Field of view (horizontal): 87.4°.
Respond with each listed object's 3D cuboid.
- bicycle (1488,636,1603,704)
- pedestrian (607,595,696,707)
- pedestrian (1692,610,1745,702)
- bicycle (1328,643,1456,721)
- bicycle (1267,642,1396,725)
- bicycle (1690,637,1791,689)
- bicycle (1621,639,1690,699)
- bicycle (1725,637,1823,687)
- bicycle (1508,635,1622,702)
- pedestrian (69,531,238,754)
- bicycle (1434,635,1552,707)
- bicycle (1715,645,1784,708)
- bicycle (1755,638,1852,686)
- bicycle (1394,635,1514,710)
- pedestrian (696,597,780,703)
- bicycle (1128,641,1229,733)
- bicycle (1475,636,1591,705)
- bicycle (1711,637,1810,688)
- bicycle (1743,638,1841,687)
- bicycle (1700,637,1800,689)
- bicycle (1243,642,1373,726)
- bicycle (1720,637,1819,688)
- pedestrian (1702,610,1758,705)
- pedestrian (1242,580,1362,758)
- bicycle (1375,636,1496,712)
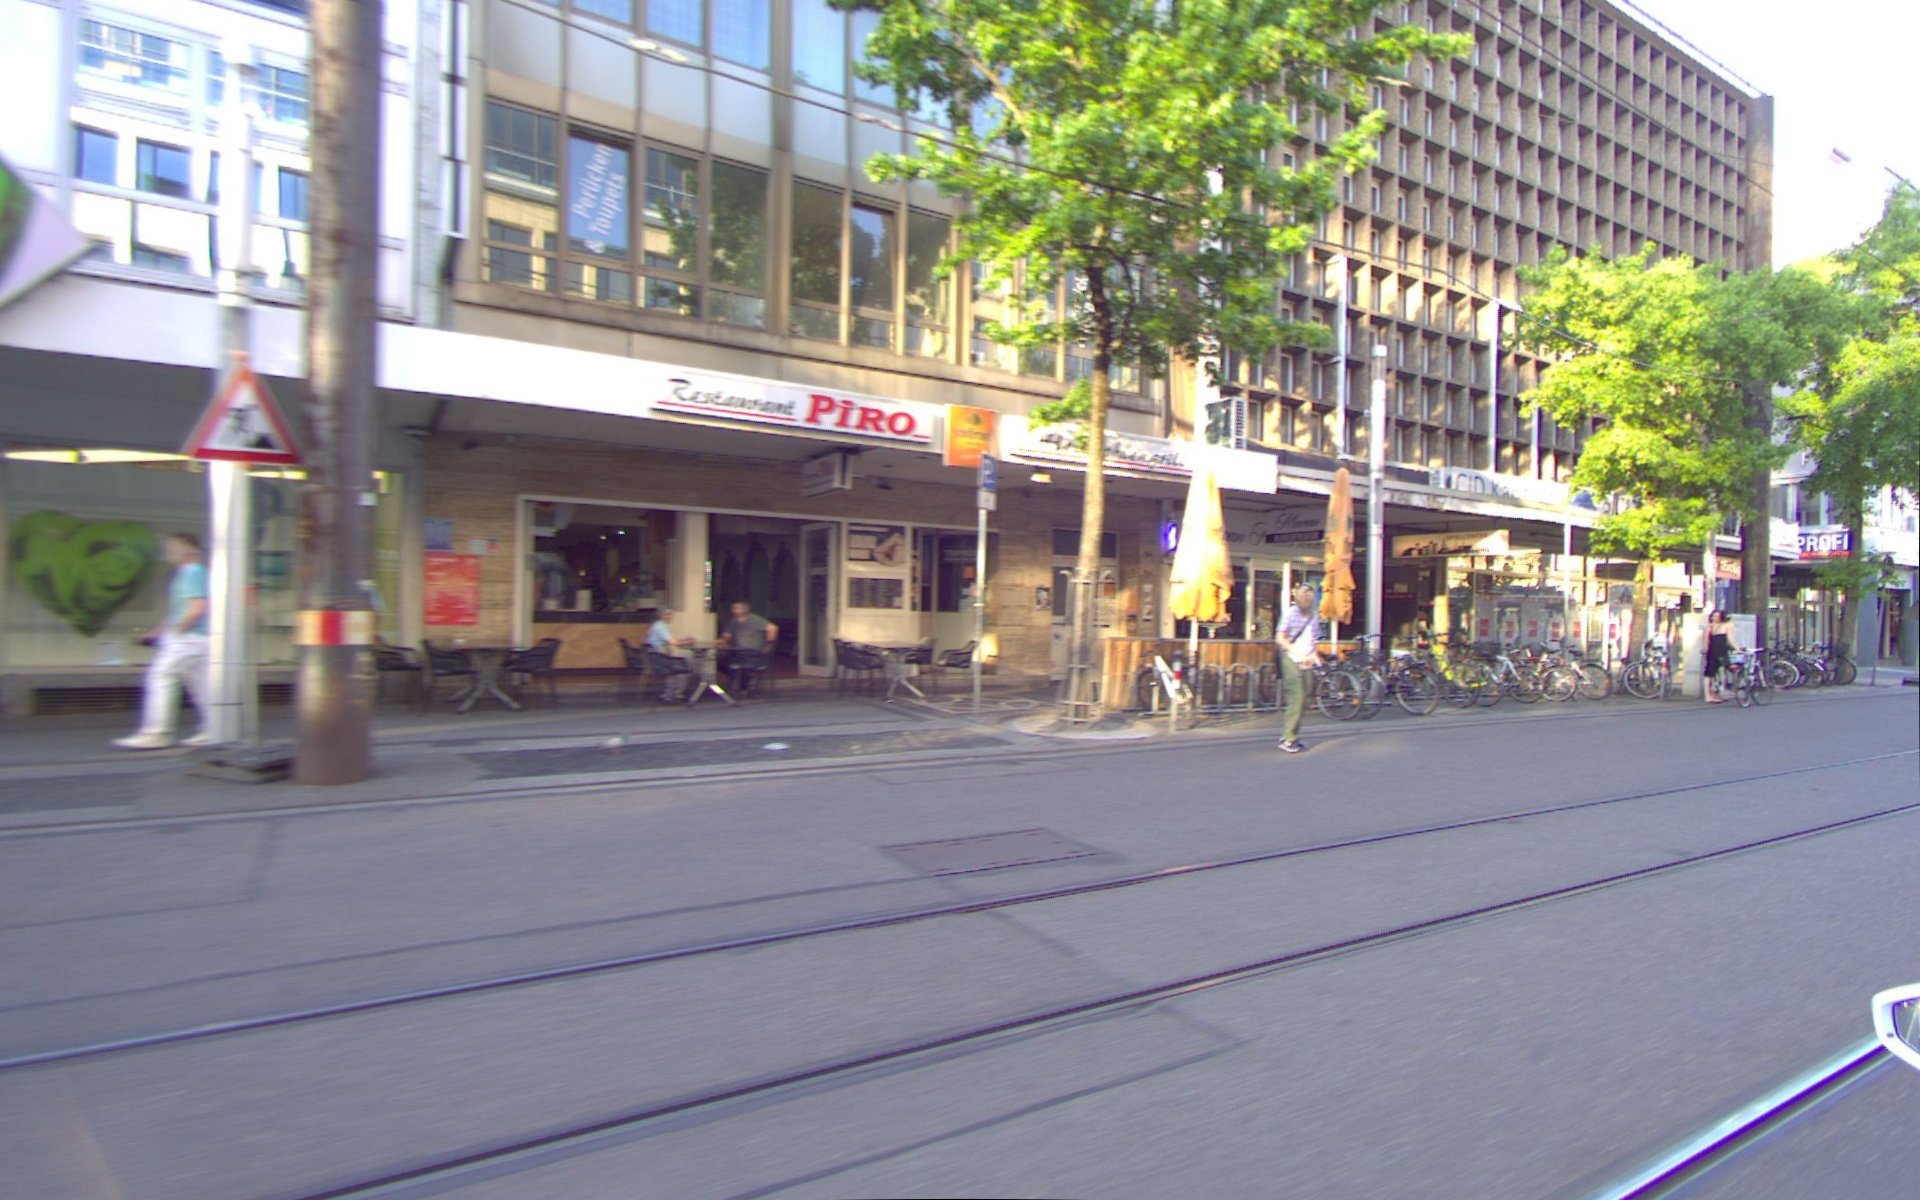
[{"bbox_3d":[10.749,1.258,18.487,0.485,1.085,1.759,0,2,-36],"label":"bicycle"},{"bbox_3d":[-3.919,0.627,12.759,0.902,1.343,0.666,2,2,-33],"label":"pedestrian"},{"bbox_3d":[14.493,1.065,19.201,0.525,1.722,0.603,1,0,-2],"label":"pedestrian"},{"bbox_3d":[6.497,1.204,15.180,0.485,1.003,1.759,0,2,-36],"label":"bicycle"},{"bbox_3d":[5.308,1.166,14.449,0.485,1.003,1.759,0,2,-36],"label":"bicycle"},{"bbox_3d":[17.968,1.428,23.156,0.484,1.059,1.763,1,1,-30],"label":"bicycle"},{"bbox_3d":[13.339,1.299,19.249,1.759,1.059,0.485,1,0,-35],"label":"bicycle"},{"bbox_3d":[19.543,1.479,24.151,0.484,1.059,1.763,1,1,-30],"label":"bicycle"},{"bbox_3d":[11.302,1.260,18.819,0.485,1.085,1.759,0,2,-36],"label":"bicycle"},{"bbox_3d":[-6.931,0.347,8.685,0.977,1.816,0.682,2,2,-26],"label":"pedestrian"},{"bbox_3d":[9.279,1.210,17.546,0.485,1.085,1.759,0,2,-36],"label":"bicycle"},{"bbox_3d":[14.434,1.378,18.356,1.759,1.059,0.485,1,0,-35],"label":"bicycle"},{"bbox_3d":[20.939,1.524,24.977,0.484,1.059,1.763,1,1,-30],"label":"bicycle"},{"bbox_3d":[8.263,1.177,16.855,0.485,1.085,1.759,0,2,-36],"label":"bicycle"},{"bbox_3d":[-2.988,0.654,13.506,0.902,1.343,0.666,2,2,-33],"label":"pedestrian"},{"bbox_3d":[2.755,1.072,12.843,0.481,0.979,1.772,2,1,-14],"label":"bicycle"},{"bbox_3d":[10.319,1.243,18.155,0.485,1.085,1.759,0,2,-36],"label":"bicycle"},{"bbox_3d":[18.863,1.457,23.705,0.484,1.059,1.763,1,1,-30],"label":"bicycle"},{"bbox_3d":[20.433,1.508,24.705,0.484,1.059,1.763,1,1,-30],"label":"bicycle"},{"bbox_3d":[18.383,1.441,23.409,0.484,1.059,1.763,1,1,-30],"label":"bicycle"},{"bbox_3d":[4.869,1.152,14.166,0.485,1.003,1.759,0,2,-36],"label":"bicycle"},{"bbox_3d":[19.337,1.472,24.027,0.484,1.059,1.763,1,1,-30],"label":"bicycle"},{"bbox_3d":[14.264,1.054,18.618,0.525,1.722,0.603,1,0,-2],"label":"pedestrian"},{"bbox_3d":[3.672,0.709,10.864,0.807,1.817,0.989,2,2,-7],"label":"pedestrian"},{"bbox_3d":[7.787,1.189,16.537,0.485,1.085,1.759,0,2,-36],"label":"bicycle"}]
